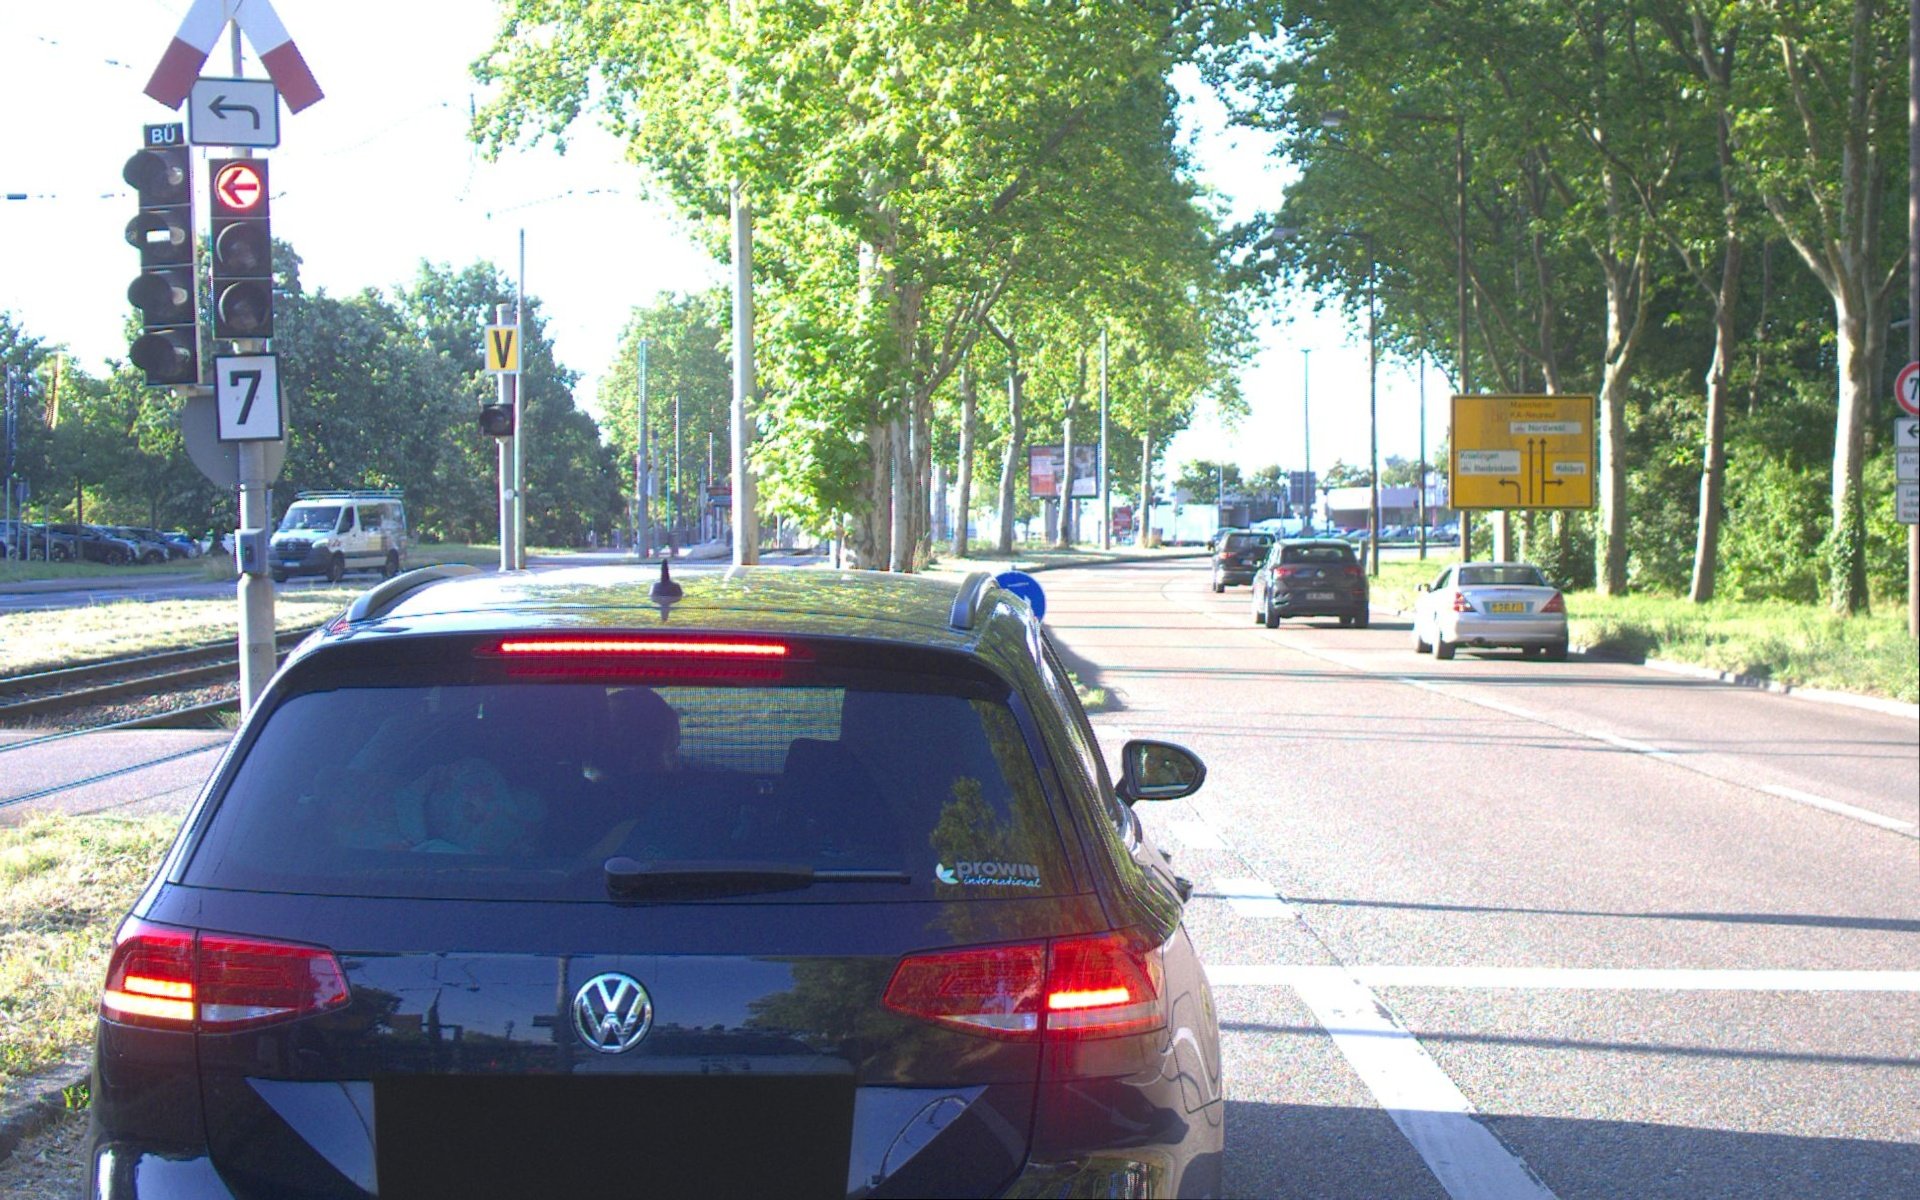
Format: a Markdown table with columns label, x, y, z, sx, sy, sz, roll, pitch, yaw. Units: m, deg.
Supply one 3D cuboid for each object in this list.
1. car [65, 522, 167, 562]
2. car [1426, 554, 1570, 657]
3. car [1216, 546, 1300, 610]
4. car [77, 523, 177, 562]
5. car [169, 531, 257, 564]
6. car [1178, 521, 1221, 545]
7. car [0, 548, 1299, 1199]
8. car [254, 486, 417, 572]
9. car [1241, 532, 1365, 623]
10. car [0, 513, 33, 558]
| label | x | y | z | sx | sy | sz | roll | pitch | yaw |
| --- | --- | --- | --- | --- | --- | --- | --- | --- | --- |
| car | -35.815 | -2.465 | 145.916 | 3.986 | 1.615 | 1.744 | 1 | 1 | -5 |
| car | 7.194 | 0.043 | 46.256 | 1.609 | 1.290 | 3.982 | 1 | 1 | 5 |
| car | 7.763 | -0.579 | 89.864 | 1.872 | 1.629 | 4.370 | 0 | 1 | 1 |
| car | -36.108 | -2.484 | 149.078 | 3.986 | 1.615 | 1.744 | 1 | 1 | -5 |
| car | -36.498 | -2.557 | 167.992 | 3.986 | 1.550 | 1.744 | 1 | 1 | -4 |
| car | 14.392 | -4.040 | 206.659 | 1.993 | 1.415 | 4.001 | 1 | 1 | -4 |
| car | -0.483 | 0.649 | 6.417 | 1.795 | 1.459 | 3.583 | 1 | 1 | -1 |
| car | -18.473 | -2.120 | 102.003 | 2.097 | 2.453 | 5.847 | 1 | 1 | 20 |
| car | 6.005 | -0.420 | 60.489 | 1.707 | 1.555 | 4.166 | 0 | 1 | -1 |
| car | -35.909 | -2.371 | 125.010 | 3.986 | 1.615 | 1.744 | 1 | 1 | -5 |
